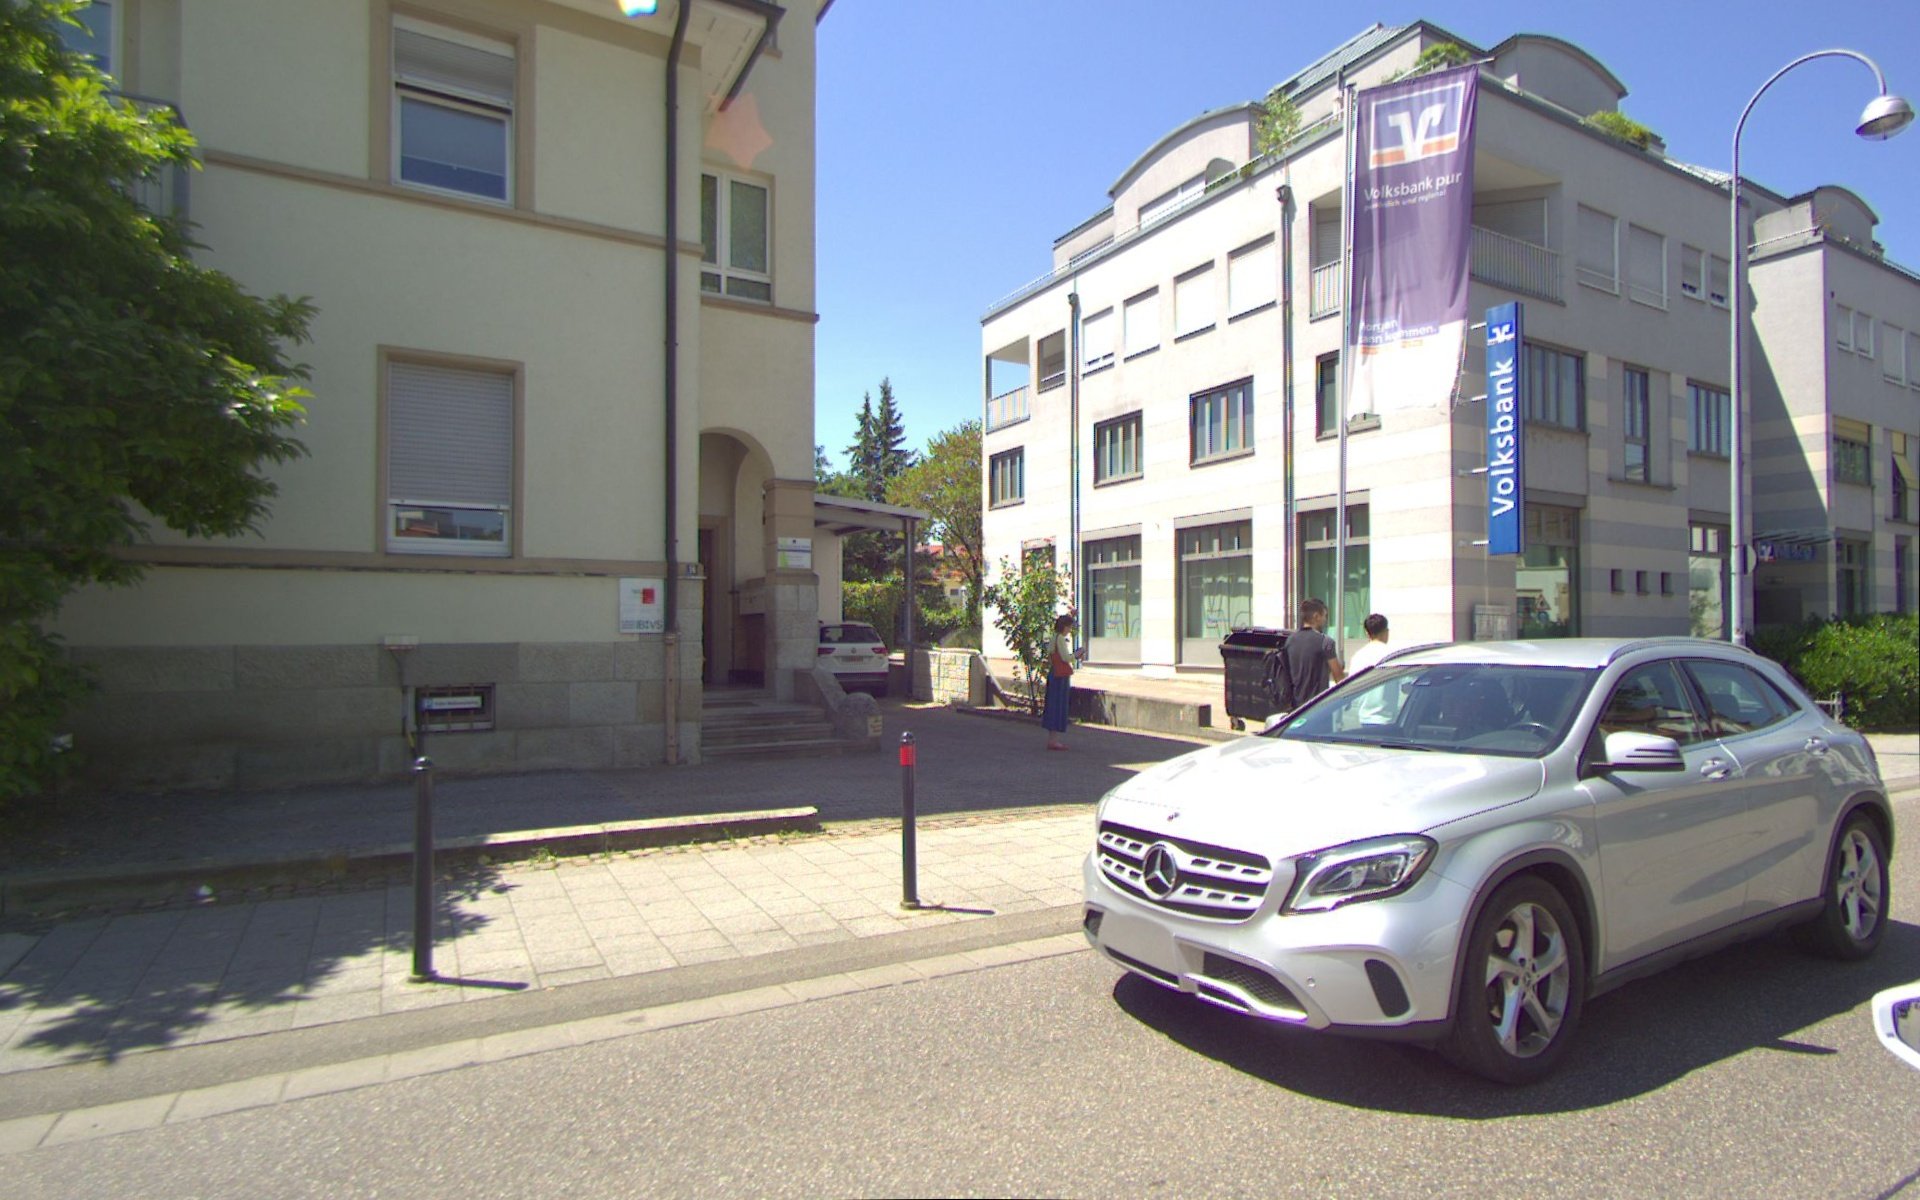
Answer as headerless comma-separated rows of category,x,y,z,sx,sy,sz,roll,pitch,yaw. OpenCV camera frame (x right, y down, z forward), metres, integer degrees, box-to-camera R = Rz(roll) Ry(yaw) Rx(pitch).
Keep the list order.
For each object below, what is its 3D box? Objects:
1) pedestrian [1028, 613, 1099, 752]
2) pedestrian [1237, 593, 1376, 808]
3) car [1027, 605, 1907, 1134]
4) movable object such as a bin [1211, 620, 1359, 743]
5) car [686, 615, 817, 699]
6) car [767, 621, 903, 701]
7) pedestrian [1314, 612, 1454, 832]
pedestrian,1.298,1.017,12.626,0.726,1.696,0.537,1,-2,-30
pedestrian,3.077,0.852,8.924,0.940,1.794,0.744,1,-1,-30
car,2.468,0.864,4.732,3.984,1.530,1.821,2,-3,-30
movable object such as a bin,4.394,1.066,13.659,1.279,1.508,1.380,1,1,-29
car,-4.543,1.166,21.475,1.771,1.600,3.853,1,-2,-27
car,-2.878,1.308,22.399,1.771,1.600,3.854,3,-3,-27
pedestrian,3.496,0.959,8.290,0.893,1.699,0.618,1,0,-30
